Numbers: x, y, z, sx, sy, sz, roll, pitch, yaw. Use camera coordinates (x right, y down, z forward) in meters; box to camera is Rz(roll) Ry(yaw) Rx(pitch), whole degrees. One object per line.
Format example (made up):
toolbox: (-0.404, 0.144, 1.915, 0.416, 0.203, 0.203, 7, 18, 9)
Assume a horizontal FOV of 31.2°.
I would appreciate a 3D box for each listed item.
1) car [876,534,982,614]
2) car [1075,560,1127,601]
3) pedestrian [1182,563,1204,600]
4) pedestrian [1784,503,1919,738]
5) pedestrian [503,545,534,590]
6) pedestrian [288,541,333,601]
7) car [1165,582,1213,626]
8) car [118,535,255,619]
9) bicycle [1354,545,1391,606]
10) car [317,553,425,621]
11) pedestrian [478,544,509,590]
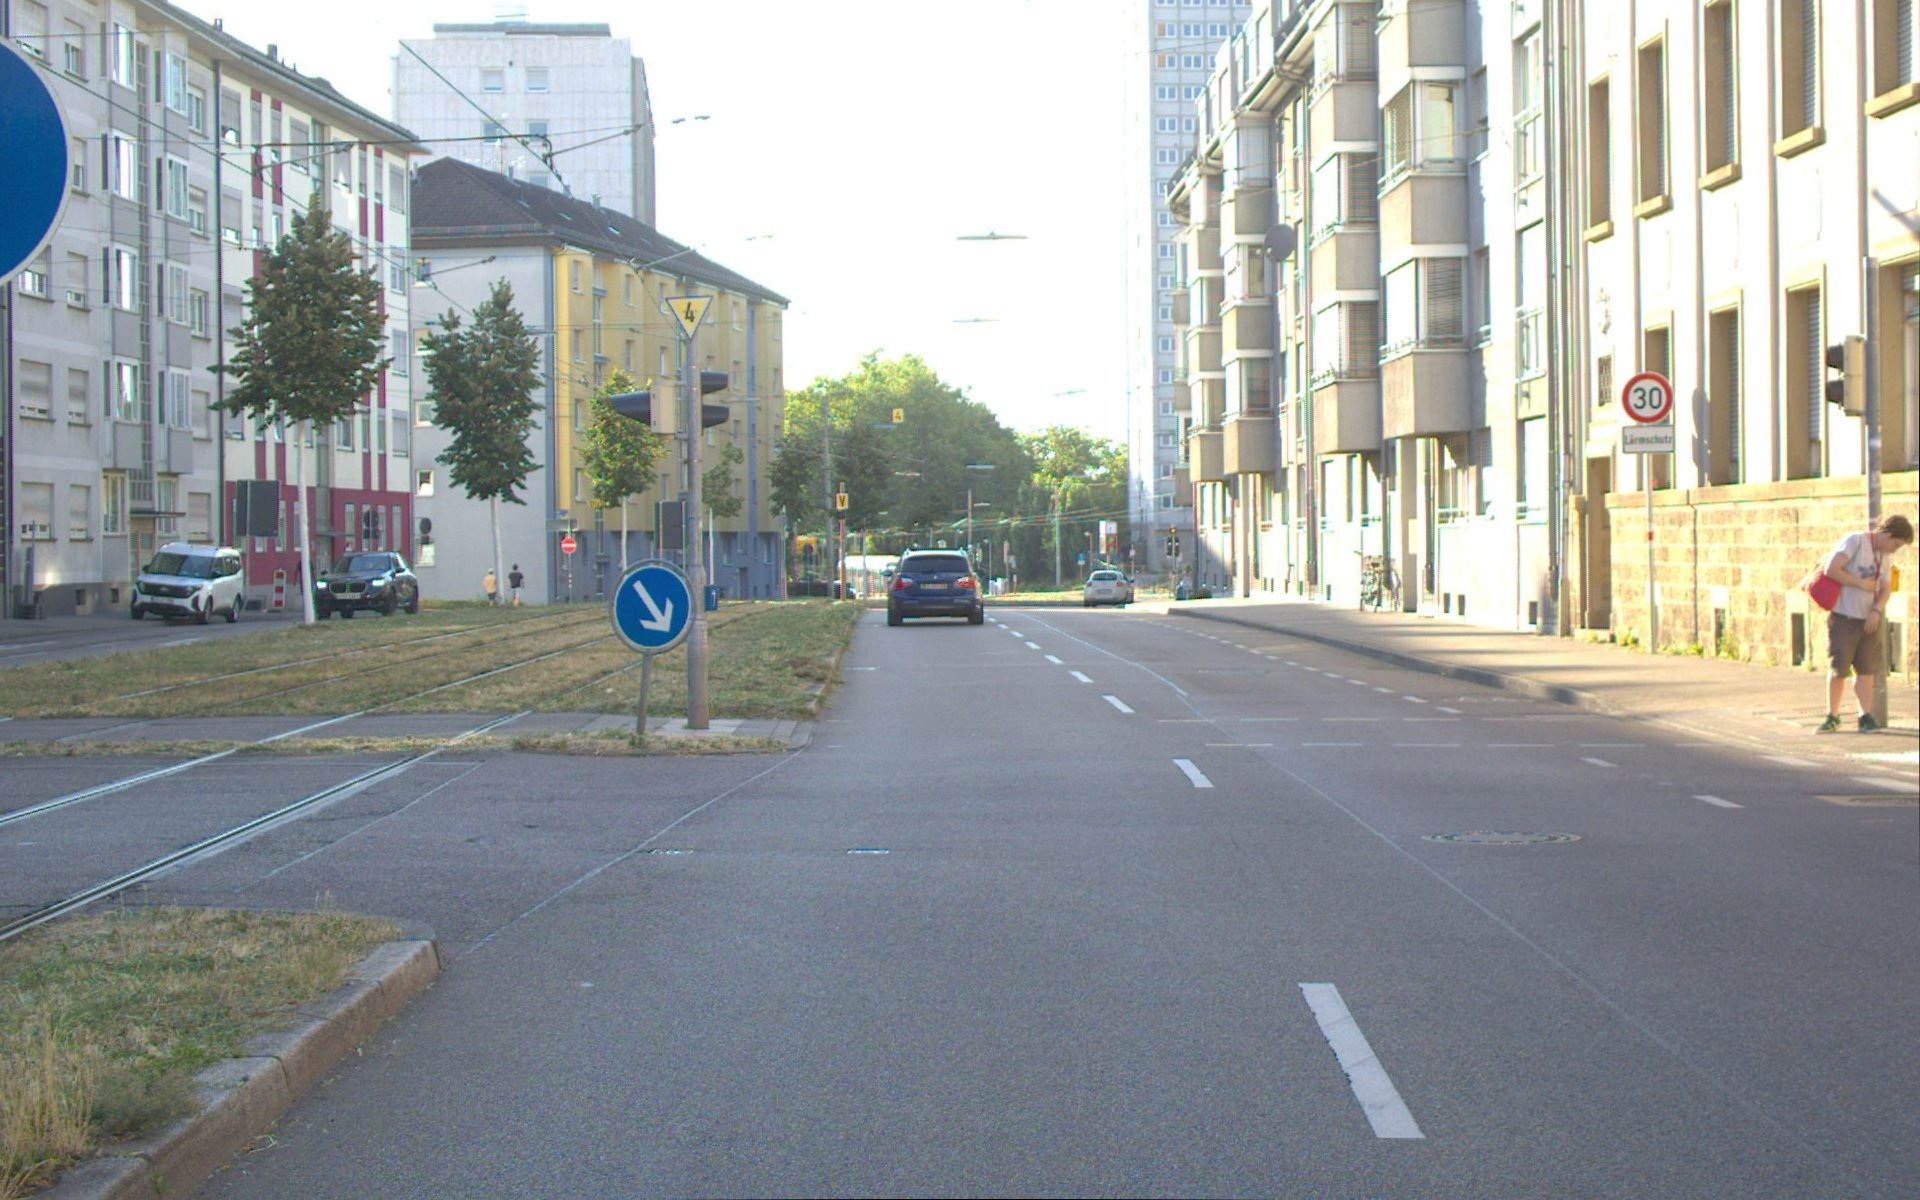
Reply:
car: (-0.552, -0.488, 65.233, 1.926, 1.451, 4.327, 1, 0, 0)
car: (5.604, -0.780, 137.386, 1.993, 1.558, 4.000, 1, 0, 2)
pedestrian: (7.869, -0.626, 116.099, 0.691, 1.230, 0.736, 1, 0, 0)
pedestrian: (6.822, 0.150, 26.237, 0.835, 1.756, 0.824, 1, 0, -1)
pedestrian: (-16.577, -1.231, 129.080, 0.962, 1.664, 1.011, 1, 0, 5)
pedestrian: (-19.236, -0.855, 101.902, 1.269, 1.755, 1.274, 1, 0, -10)
car: (11.142, 0.184, 167.628, 1.993, 2.007, 4.000, -1, 1, -1)
car: (-18.311, -0.550, 81.537, 1.994, 1.918, 4.541, 1, 0, 3)
bicycle: (7.439, -0.443, 62.047, 0.383, 1.092, 1.504, -1, 0, -3)
car: (-14.762, -0.344, 86.351, 1.897, 1.628, 4.748, -1, 1, 0)
pedestrian: (-17.442, -1.238, 128.549, 0.962, 1.688, 1.011, 1, 0, 5)
